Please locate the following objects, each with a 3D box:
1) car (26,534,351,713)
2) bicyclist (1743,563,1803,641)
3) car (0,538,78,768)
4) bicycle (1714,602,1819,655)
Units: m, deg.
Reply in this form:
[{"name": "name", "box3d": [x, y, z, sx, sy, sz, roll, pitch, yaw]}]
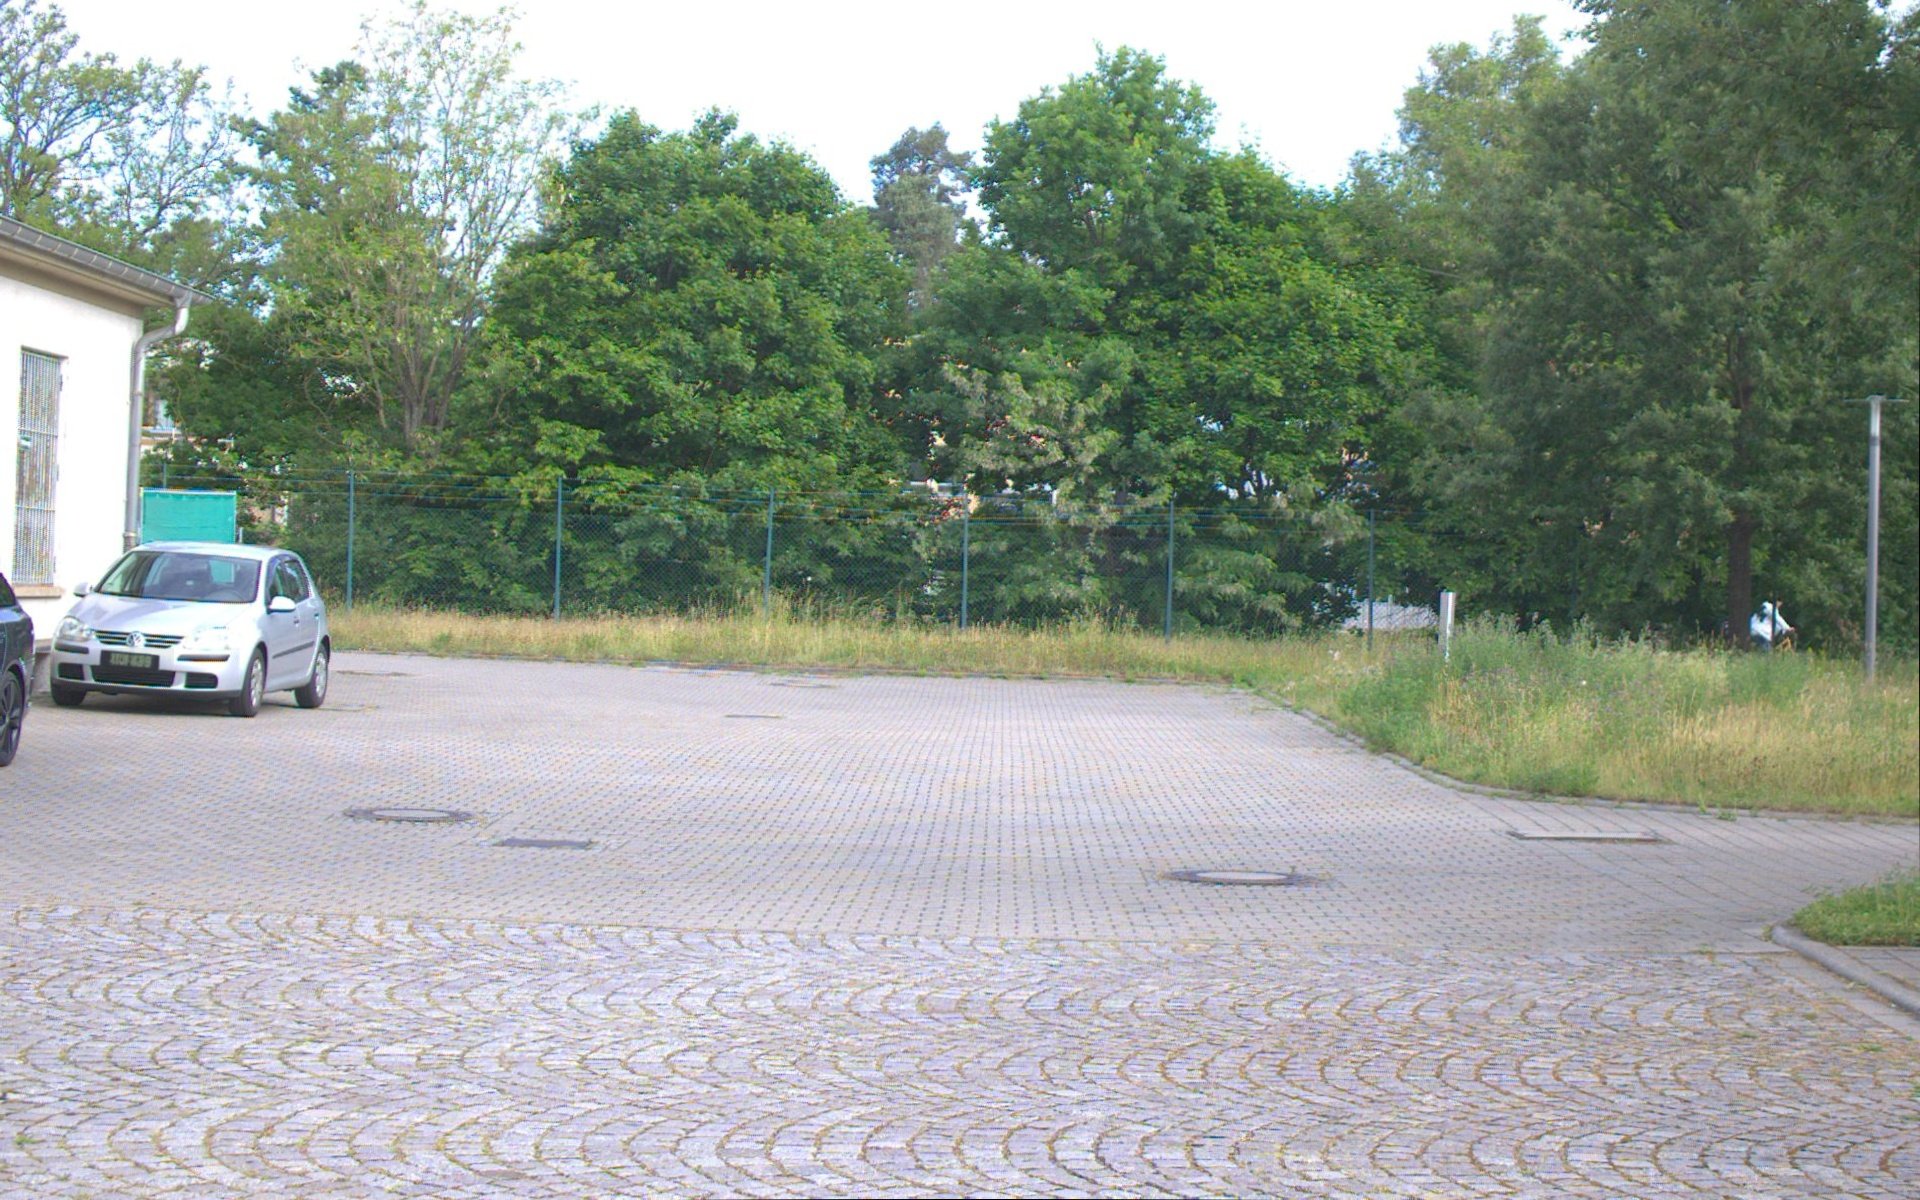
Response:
[{"name": "car", "box3d": [-6.837, 0.178, 30.933, 1.924, 1.434, 4.368, 2, 1, 0]}, {"name": "bicyclist", "box3d": [12.942, 0.033, 54.740, 0.769, 1.202, 0.588, 2, 0, 1]}, {"name": "car", "box3d": [-7.001, 0.311, 21.113, 1.924, 1.456, 4.811, 2, 1, 0]}, {"name": "bicycle", "box3d": [12.836, 0.448, 54.752, 1.517, 0.788, 0.588, 2, 0, 1]}]
